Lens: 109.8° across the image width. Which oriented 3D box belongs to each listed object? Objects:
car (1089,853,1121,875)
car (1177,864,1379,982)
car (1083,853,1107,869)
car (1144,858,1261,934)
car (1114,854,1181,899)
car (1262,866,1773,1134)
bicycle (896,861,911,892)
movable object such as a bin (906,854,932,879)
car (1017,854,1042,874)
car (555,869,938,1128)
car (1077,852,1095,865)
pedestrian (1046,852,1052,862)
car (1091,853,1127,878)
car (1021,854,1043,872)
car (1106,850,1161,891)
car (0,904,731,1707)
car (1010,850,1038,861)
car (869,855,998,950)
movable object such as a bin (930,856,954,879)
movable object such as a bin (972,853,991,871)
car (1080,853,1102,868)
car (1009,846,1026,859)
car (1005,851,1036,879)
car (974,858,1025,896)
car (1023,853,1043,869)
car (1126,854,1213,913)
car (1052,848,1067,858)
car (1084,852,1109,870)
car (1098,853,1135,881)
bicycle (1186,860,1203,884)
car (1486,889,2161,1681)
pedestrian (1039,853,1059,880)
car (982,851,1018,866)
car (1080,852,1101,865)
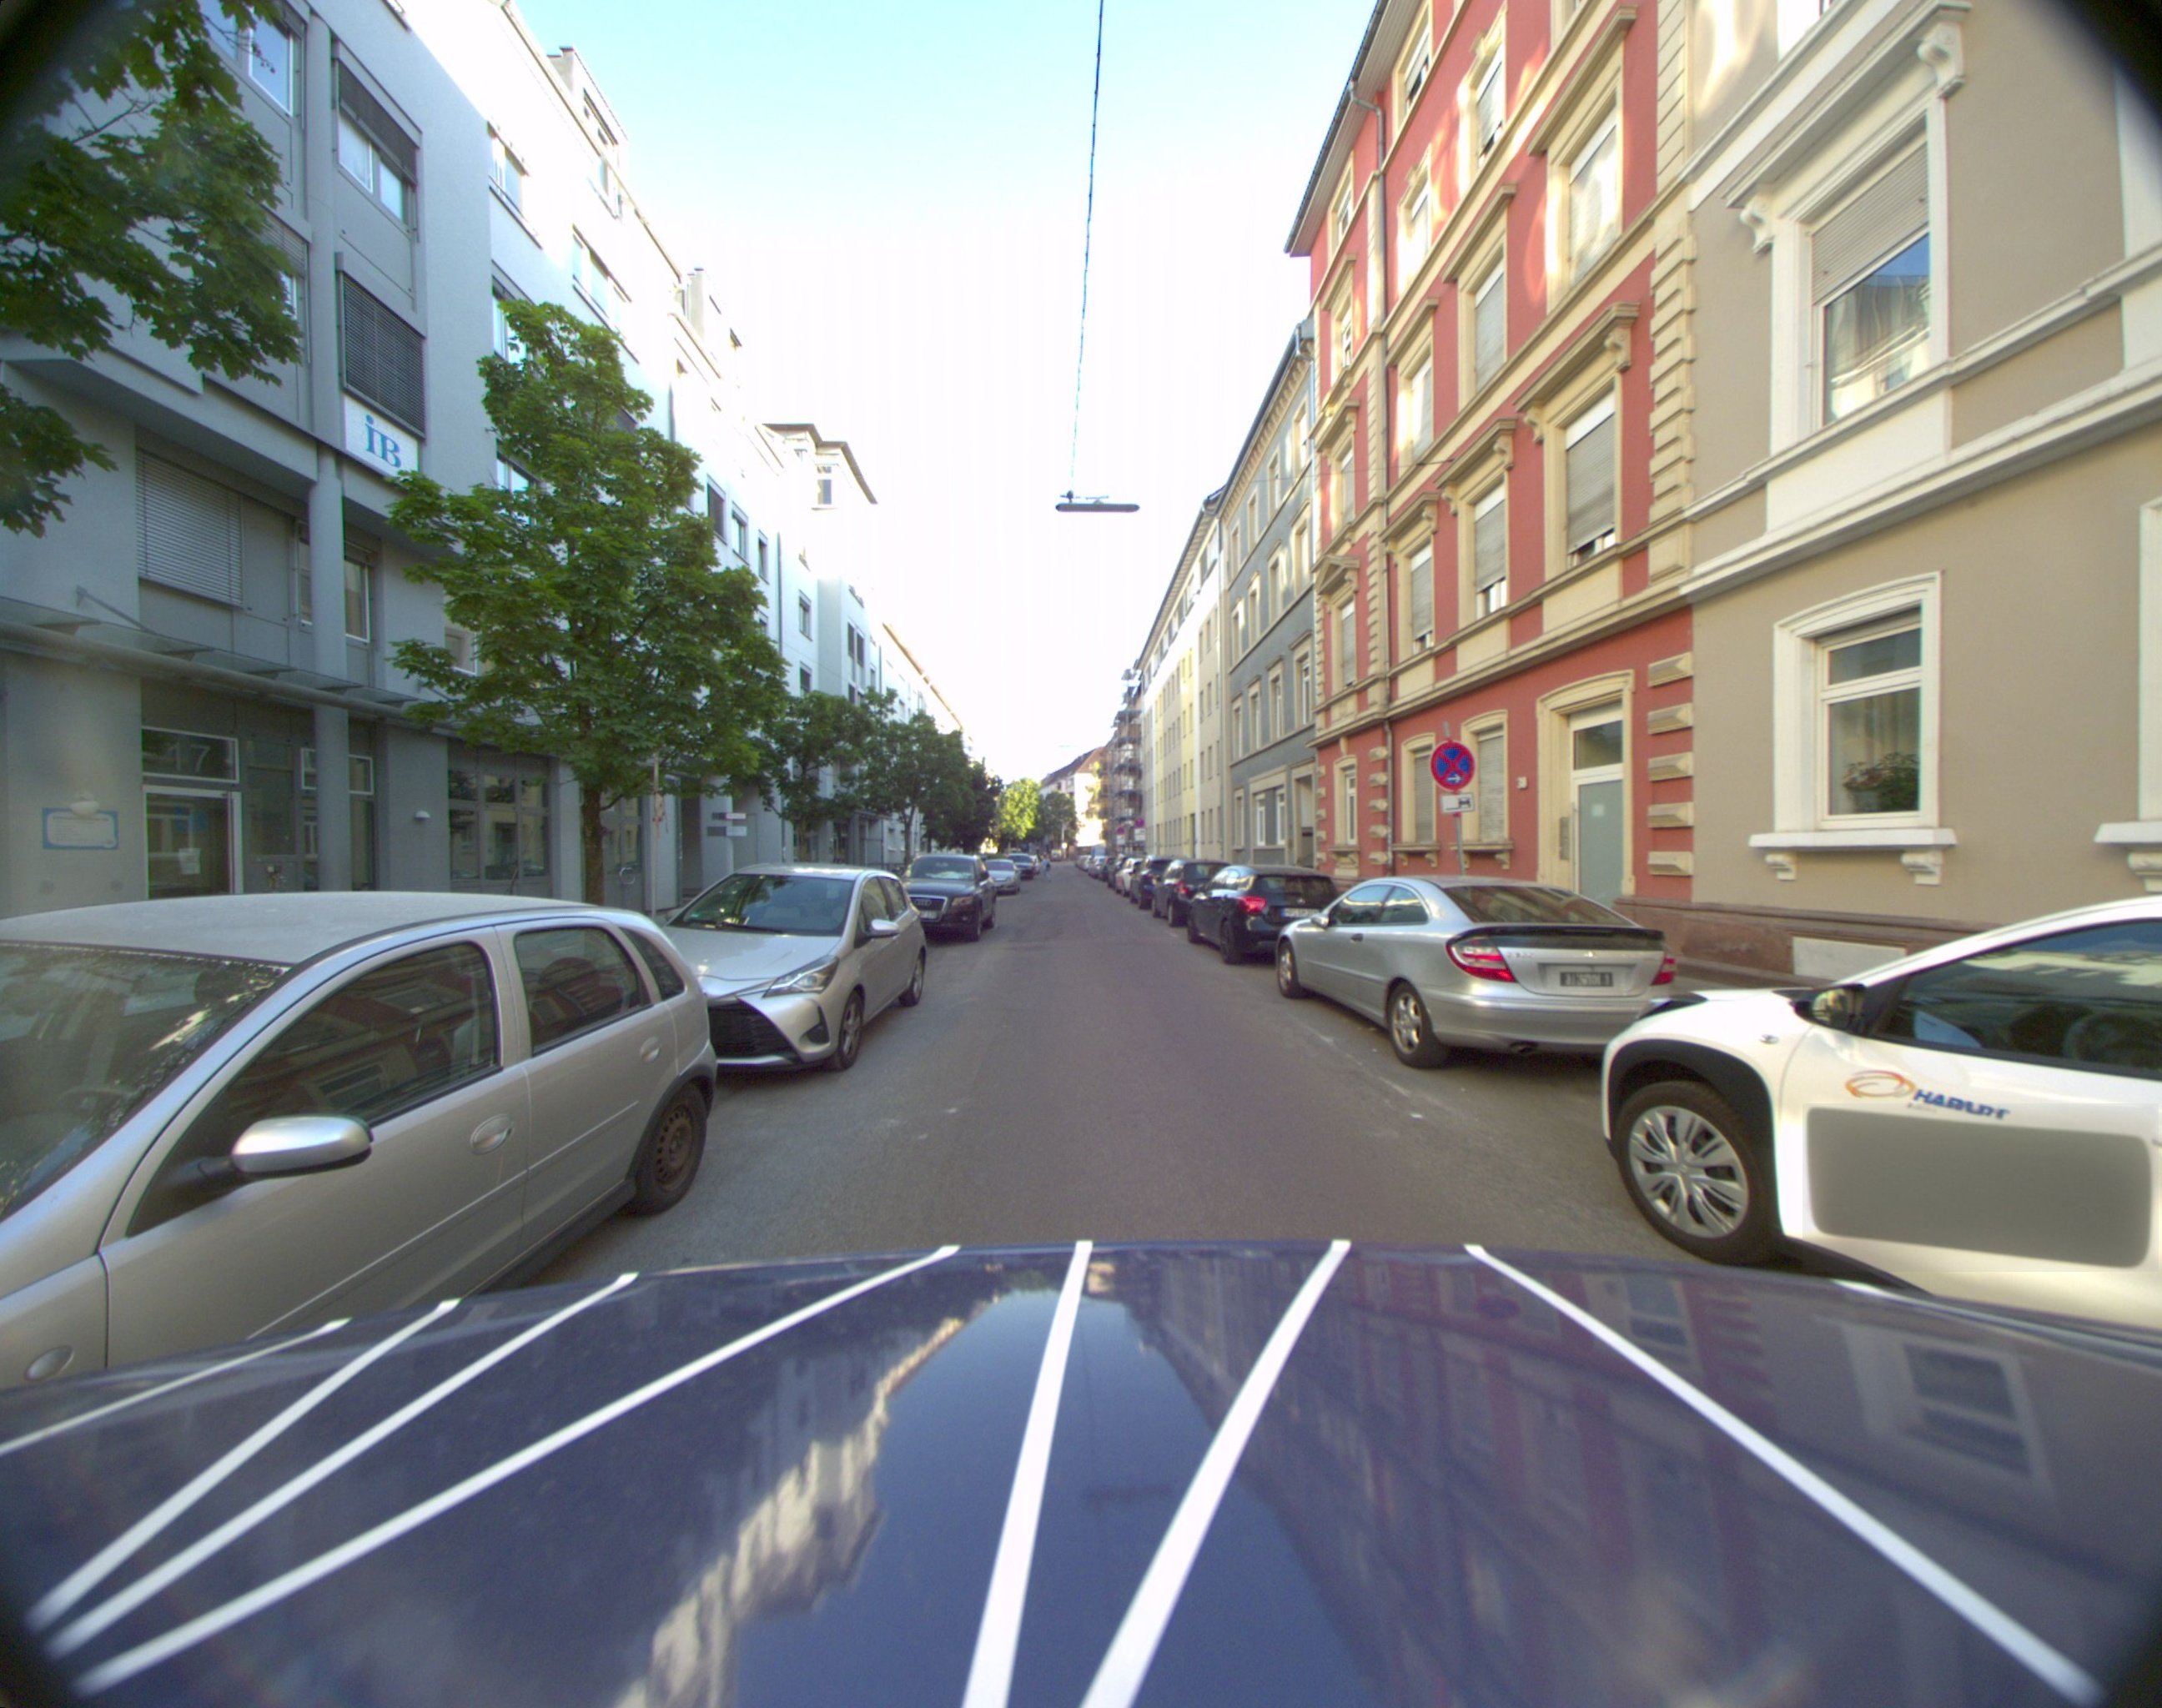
[{"bbox_3d":[1.676,0.686,54.495,1.928,1.480,4.615,1,0,-3],"label":"car"},{"bbox_3d":[2.875,0.937,12.155,1.926,1.475,4.266,1,0,-3],"label":"car"},{"bbox_3d":[1.303,0.626,73.768,1.999,1.439,3.998,1,0,-3],"label":"car"},{"bbox_3d":[2.748,0.898,18.128,1.906,1.551,4.239,1,0,-3],"label":"car"},{"bbox_3d":[2.430,0.804,28.844,1.926,1.551,4.266,1,0,-3],"label":"car"},{"bbox_3d":[3.182,0.931,6.761,1.926,1.551,4.266,1,0,-3],"label":"car"},{"bbox_3d":[-7.057,0.887,30.240,0.522,1.161,1.738,1,1,-12],"label":"bicycle"},{"bbox_3d":[-9.527,0.721,44.704,1.265,1.428,1.138,0,1,-2],"label":"movable object such as a bin"},{"bbox_3d":[-3.997,0.768,59.339,1.680,1.474,3.652,1,0,1],"label":"car"},{"bbox_3d":[-2.485,0.956,6.782,1.681,1.516,3.970,1,0,0],"label":"car"},{"bbox_3d":[0.621,0.530,95.069,1.999,1.462,3.998,1,0,-3],"label":"car"},{"bbox_3d":[-4.667,0.485,110.387,0.749,1.455,0.802,-2,1,-2],"label":"pedestrian"},{"bbox_3d":[1.748,0.699,49.127,1.928,1.480,4.616,1,0,-2],"label":"car"},{"bbox_3d":[-4.118,0.743,64.288,1.681,1.411,4.135,1,0,-2],"label":"car"},{"bbox_3d":[2.303,0.695,34.221,1.926,1.654,4.467,1,0,-3],"label":"car"},{"bbox_3d":[-2.598,1.005,1.876,1.680,1.467,3.729,1,0,1],"label":"car"},{"bbox_3d":[-9.410,0.250,125.801,4.213,1.760,2.082,1,1,5],"label":"car"},{"bbox_3d":[-2.838,0.868,15.595,1.890,1.613,4.433,1,0,-2],"label":"car"},{"bbox_3d":[-8.228,0.781,44.996,1.265,1.313,1.138,0,1,-2],"label":"movable object such as a bin"},{"bbox_3d":[-7.775,0.623,59.454,1.288,1.428,1.223,0,1,-2],"label":"movable object such as a bin"},{"bbox_3d":[1.056,0.633,79.077,1.999,1.423,3.998,1,0,-3],"label":"car"},{"bbox_3d":[-11.735,-0.328,140.164,2.163,2.270,6.199,1,0,-15],"label":"car"},{"bbox_3d":[-3.819,0.655,48.736,1.876,1.626,4.720,1,0,-3],"label":"car"},{"bbox_3d":[-3.380,0.910,32.066,1.768,1.421,4.343,1,0,-2],"label":"car"},{"bbox_3d":[-4.403,0.653,70.469,1.681,1.411,4.134,1,0,-2],"label":"car"},{"bbox_3d":[2.560,0.814,22.943,1.926,1.551,4.266,1,0,-3],"label":"car"},{"bbox_3d":[-3.806,-0.162,131.658,2.081,1.760,4.214,1,0,-8],"label":"car"},{"bbox_3d":[1.385,0.612,68.940,1.999,1.496,3.998,1,0,-3],"label":"car"},{"bbox_3d":[2.041,0.726,44.279,1.784,1.480,4.419,1,0,-2],"label":"car"},{"bbox_3d":[5.281,0.833,35.520,0.451,1.068,1.751,-2,1,-1],"label":"bicycle"},{"bbox_3d":[3.171,0.953,1.960,1.925,1.498,4.267,1,0,0],"label":"car"},{"bbox_3d":[-1.800,0.701,42.633,0.869,1.455,0.803,1,1,15],"label":"pedestrian"},{"bbox_3d":[-9.299,0.512,87.771,3.998,1.556,1.999,1,1,-4],"label":"car"},{"bbox_3d":[1.011,0.472,84.497,1.999,1.423,3.998,1,0,-3],"label":"car"}]
